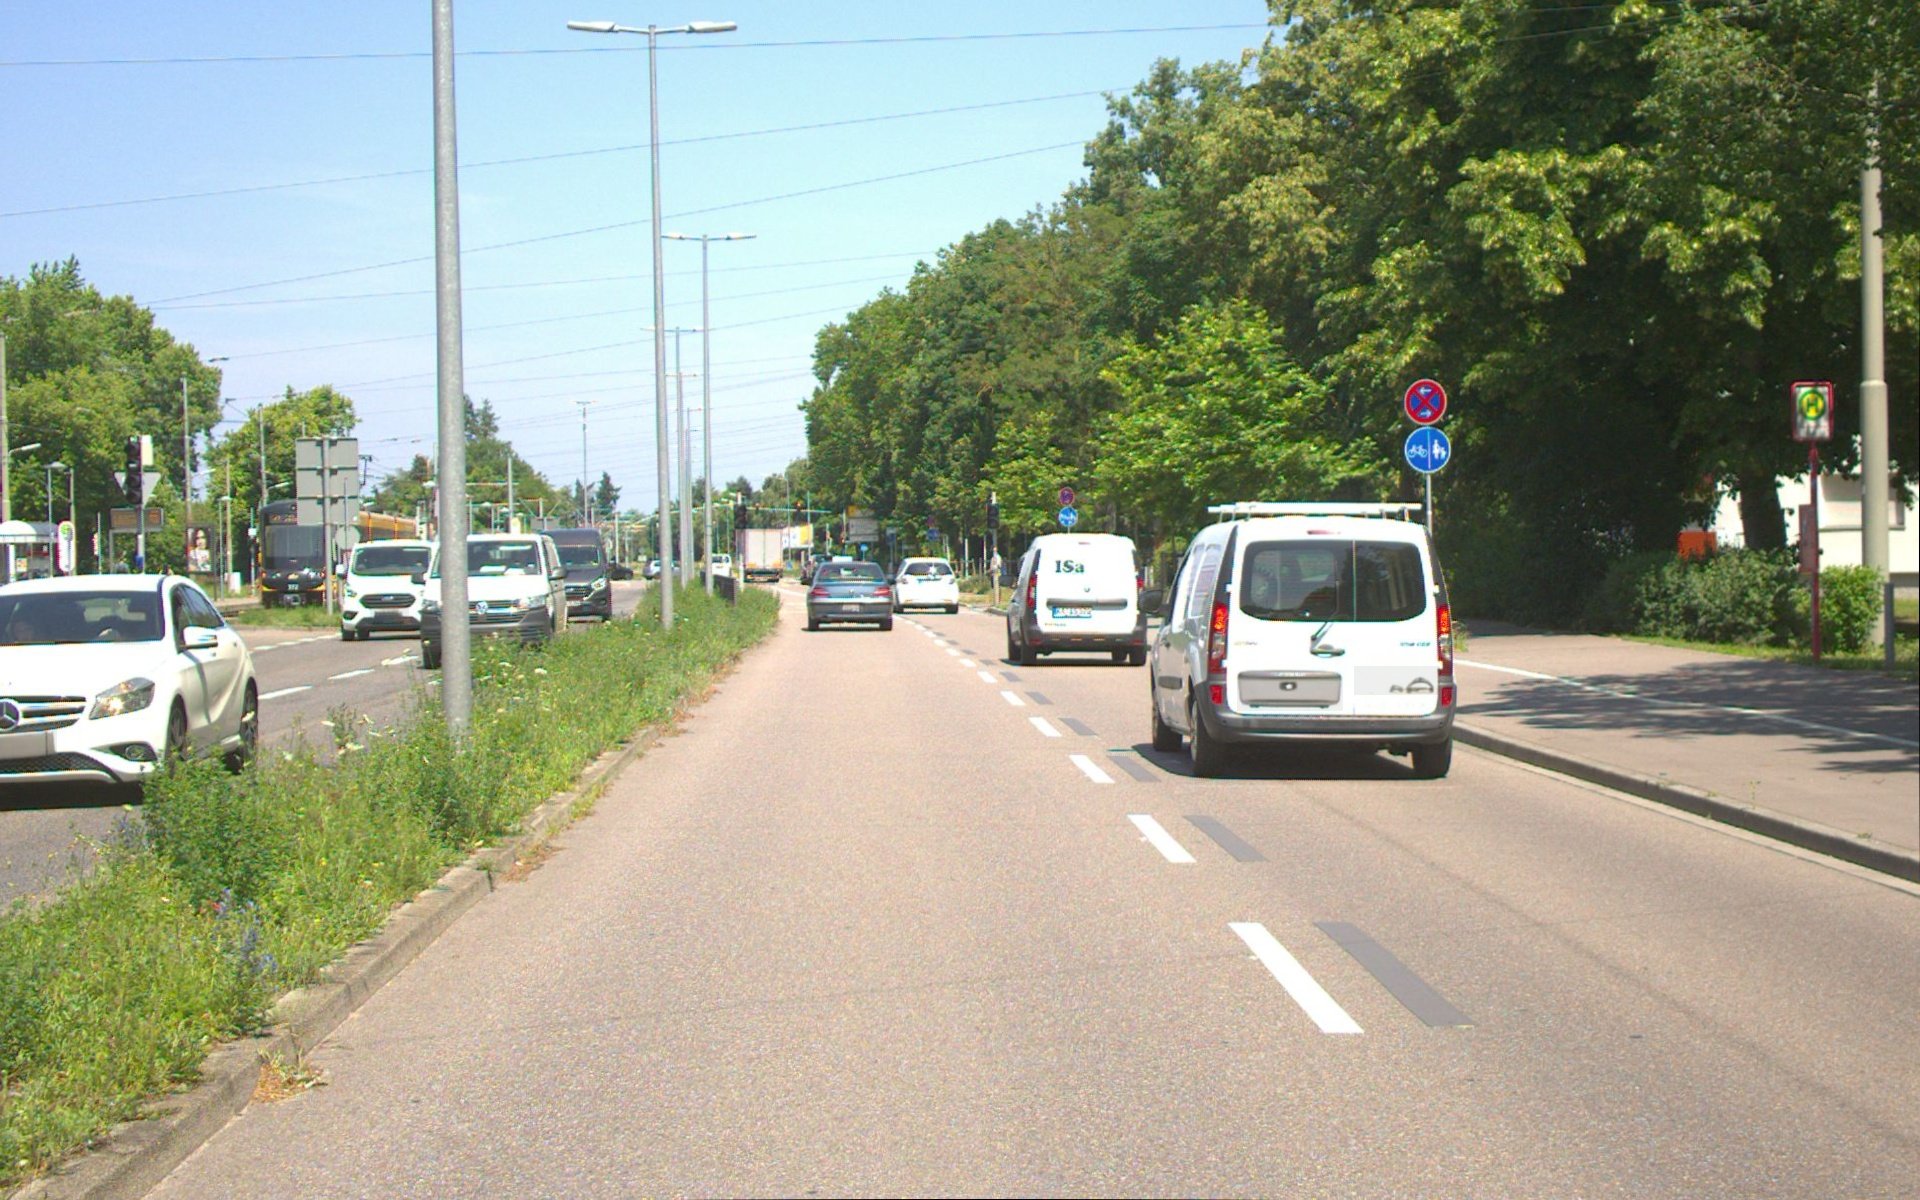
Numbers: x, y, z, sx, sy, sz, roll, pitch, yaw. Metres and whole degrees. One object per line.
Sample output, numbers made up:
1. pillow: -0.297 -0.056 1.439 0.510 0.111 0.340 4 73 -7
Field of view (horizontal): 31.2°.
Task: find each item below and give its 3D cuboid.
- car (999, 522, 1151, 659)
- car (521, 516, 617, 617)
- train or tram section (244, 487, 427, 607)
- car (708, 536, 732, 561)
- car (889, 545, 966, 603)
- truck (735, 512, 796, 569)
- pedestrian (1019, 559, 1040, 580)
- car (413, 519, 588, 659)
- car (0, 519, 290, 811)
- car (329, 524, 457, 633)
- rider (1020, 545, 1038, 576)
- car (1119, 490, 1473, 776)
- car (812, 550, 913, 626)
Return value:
1. car: 1.562 -0.173 47.846 1.727 1.807 4.001 0 1 -4
2. car: -9.670 -0.863 85.318 1.993 2.358 5.374 -2 1 -3
3. train or tram section: -21.903 -1.867 123.342 2.787 3.655 37.524 -1 1 -5
4. car: -17.923 -3.836 256.287 1.687 1.891 3.871 -1 1 -5
5. car: -0.920 -0.718 93.874 1.803 1.534 4.001 -1 1 -5
6. truck: -13.658 -4.135 240.301 3.898 3.800 10.795 -1 1 -5
7. pedestrian: 2.859 -1.254 141.846 0.678 0.845 1.774 -1 1 -5
8. car: -6.761 -0.208 51.107 1.830 1.900 5.566 -2 1 0
9. car: -5.784 0.376 22.861 1.830 1.733 4.038 -2 1 0
10. car: -11.378 -0.461 69.267 1.888 2.010 5.083 -3 1 -3
11. rider: 2.857 -1.633 141.834 0.678 1.277 0.534 -1 1 -5
12. car: 2.314 0.183 24.800 1.824 1.875 4.456 0 1 -4
13. car: -1.997 -0.263 69.724 1.801 1.481 4.001 -1 1 -5
